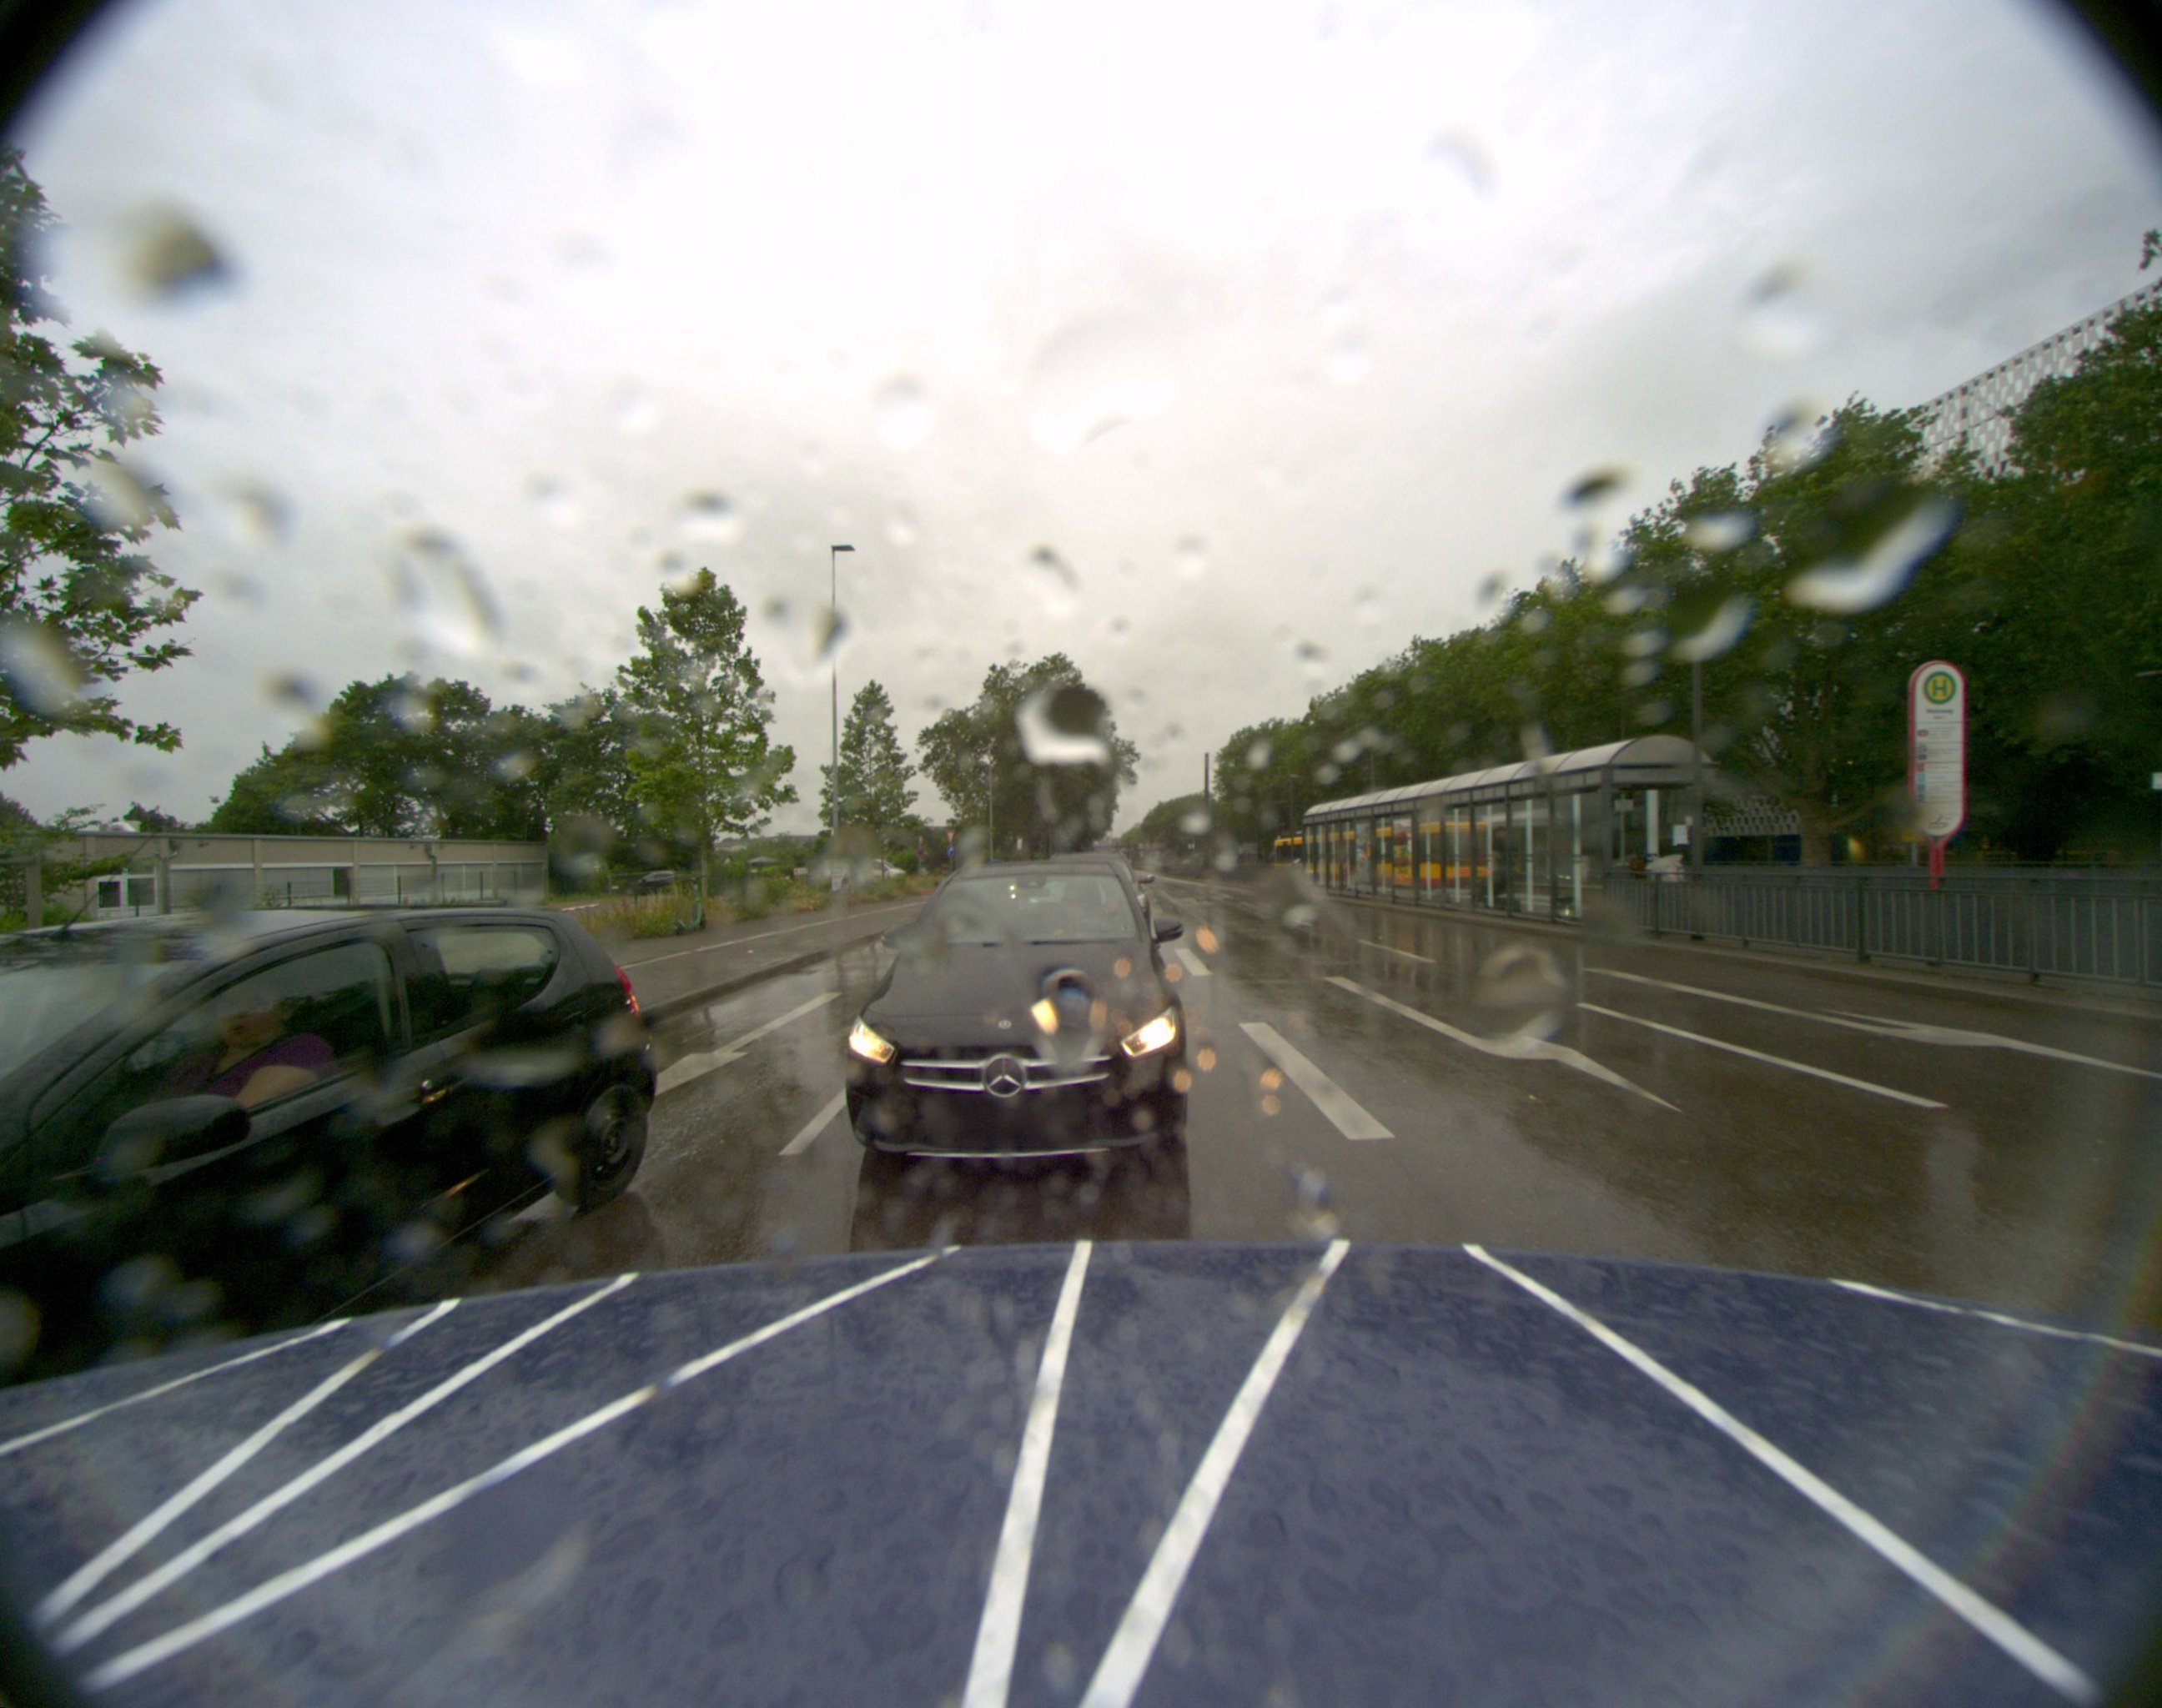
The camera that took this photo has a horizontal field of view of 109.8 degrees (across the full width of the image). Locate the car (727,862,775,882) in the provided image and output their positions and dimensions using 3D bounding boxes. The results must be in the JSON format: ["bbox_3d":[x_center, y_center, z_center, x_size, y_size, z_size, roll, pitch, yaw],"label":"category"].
[{"bbox_3d":[-28.229,1.521,65.020,3.552,1.574,1.345,-3,1,6],"label":"car"}]

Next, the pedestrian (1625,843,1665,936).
[{"bbox_3d":[9.184,0.571,12.381,0.321,1.485,0.415,-3,2,6],"label":"pedestrian"}]

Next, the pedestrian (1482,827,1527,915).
[{"bbox_3d":[9.268,0.358,16.658,0.655,1.860,0.773,-2,1,17],"label":"pedestrian"}]

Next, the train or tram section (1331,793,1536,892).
[{"bbox_3d":[16.410,-0.518,37.310,3.751,3.817,13.253,-3,0,0],"label":"train or tram section"}]

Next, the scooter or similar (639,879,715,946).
[{"bbox_3d":[-8.181,1.153,15.486,0.367,1.192,1.913,-2,1,4],"label":"scooter or similar"}]

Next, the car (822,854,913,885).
[{"bbox_3d":[-13.460,0.971,48.152,5.174,1.715,2.006,-3,1,-1],"label":"car"}]

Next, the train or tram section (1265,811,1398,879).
[{"bbox_3d":[16.403,-0.595,51.759,3.751,3.777,15.569,-3,0,0],"label":"train or tram section"}]

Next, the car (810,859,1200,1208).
[{"bbox_3d":[-0.209,0.856,5.579,1.758,1.572,4.170,-2,0,4],"label":"car"}]

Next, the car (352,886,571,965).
[{"bbox_3d":[-12.019,1.373,14.826,3.243,1.281,1.345,-3,1,6],"label":"car"}]

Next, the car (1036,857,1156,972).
[{"bbox_3d":[0.273,0.864,12.793,1.689,1.611,4.000,-1,0,2],"label":"car"}]

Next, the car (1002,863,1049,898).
[{"bbox_3d":[-2.328,1.093,32.759,1.617,1.301,3.717,-3,0,1],"label":"car"}]

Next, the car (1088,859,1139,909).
[{"bbox_3d":[1.096,1.007,27.009,1.557,1.541,3.717,-3,0,0],"label":"car"}]

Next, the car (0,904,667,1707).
[{"bbox_3d":[-2.980,1.028,2.155,1.557,1.500,3.618,-2,0,1],"label":"car"}]

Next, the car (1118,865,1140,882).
[{"bbox_3d":[3.980,1.594,63.042,1.557,1.301,3.717,-3,0,1],"label":"car"}]
